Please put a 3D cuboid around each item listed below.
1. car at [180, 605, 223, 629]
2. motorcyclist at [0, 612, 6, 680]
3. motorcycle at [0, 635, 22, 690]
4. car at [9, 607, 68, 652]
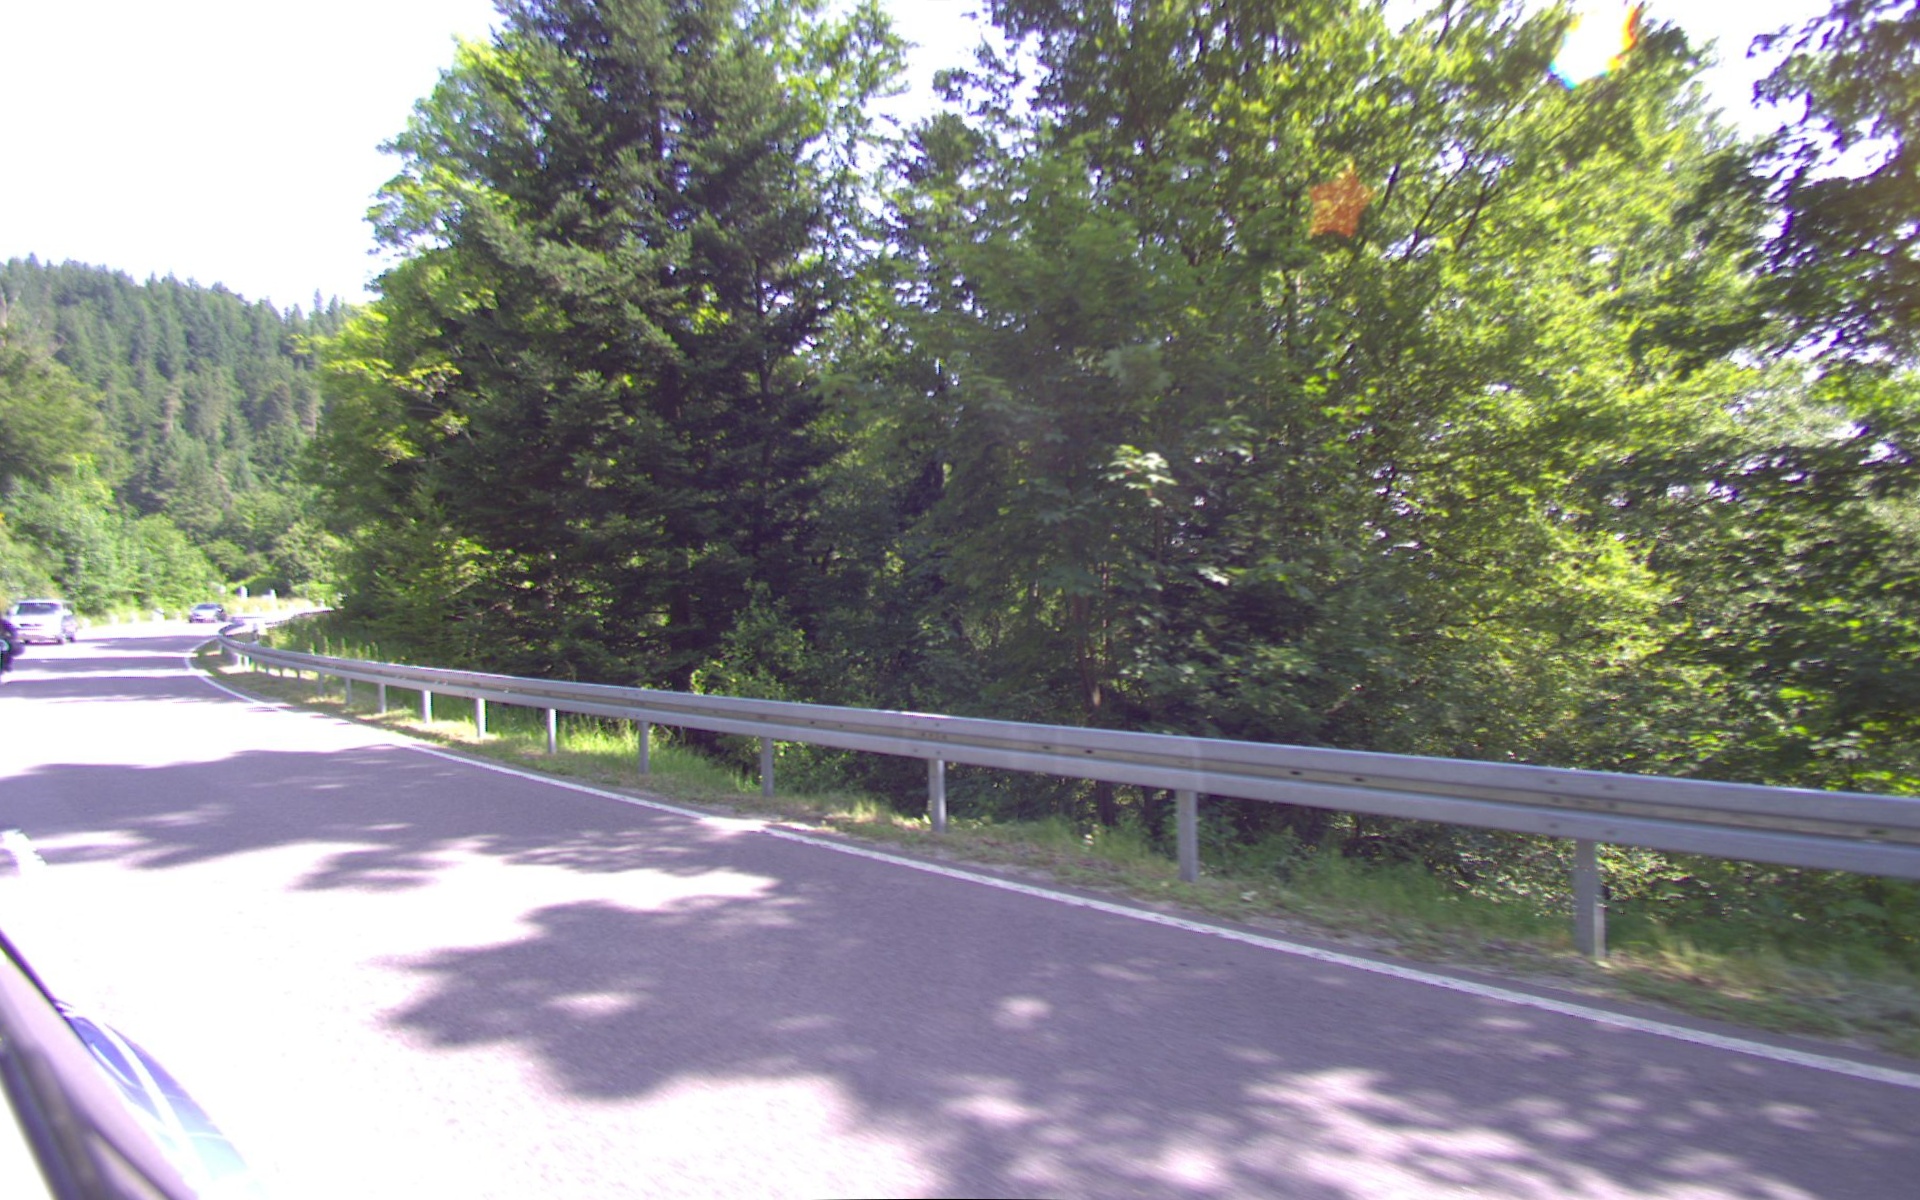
[{"bbox_3d":[-56.922,1.280,76.034,1.965,1.655,4.013,0,1,-28],"label":"car"},{"bbox_3d":[-20.950,0.993,21.676,0.706,1.441,1.000,-2,0,-43],"label":"motorcyclist"},{"bbox_3d":[-20.978,1.334,21.801,1.093,1.132,1.963,1,-1,-42],"label":"motorcycle"},{"bbox_3d":[-39.247,1.225,43.169,1.628,1.772,3.801,1,0,-39],"label":"car"}]
